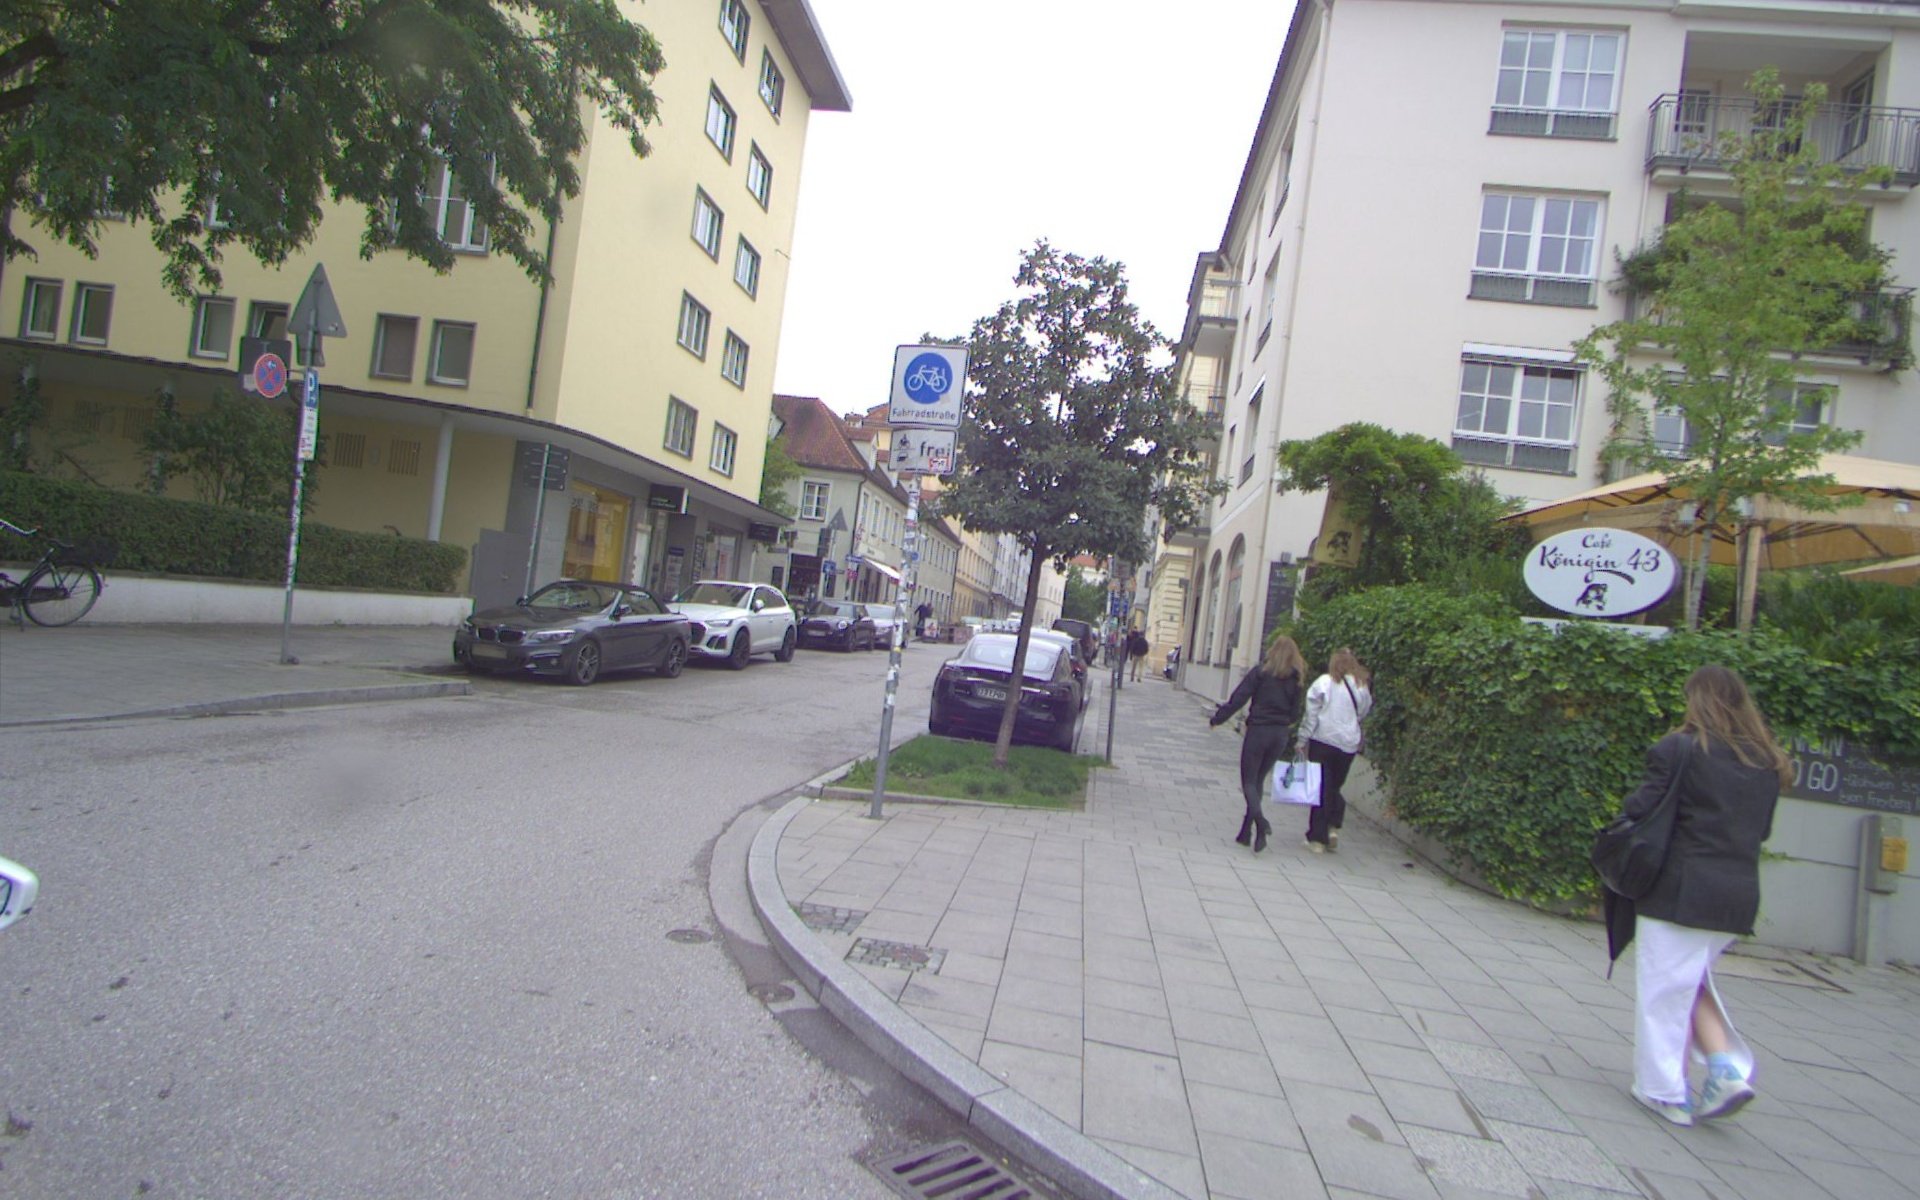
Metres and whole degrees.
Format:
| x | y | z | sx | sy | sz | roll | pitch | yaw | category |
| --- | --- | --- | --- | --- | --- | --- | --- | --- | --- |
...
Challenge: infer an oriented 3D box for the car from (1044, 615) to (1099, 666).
| x | y | z | sx | sy | sz | roll | pitch | yaw | category |
| --- | --- | --- | --- | --- | --- | --- | --- | --- | --- |
| 5.107 | 1.807 | 45.474 | 1.966 | 1.886 | 5.257 | 8 | -1 | 10 | car |

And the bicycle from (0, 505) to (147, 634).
| x | y | z | sx | sy | sz | roll | pitch | yaw | category |
| --- | --- | --- | --- | --- | --- | --- | --- | --- | --- |
| -9.540 | -0.311 | 10.304 | 0.553 | 1.224 | 1.856 | 8 | -1 | 11 | bicycle |

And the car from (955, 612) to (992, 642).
| x | y | z | sx | sy | sz | roll | pitch | yaw | category |
| --- | --- | --- | --- | --- | --- | --- | --- | --- | --- |
| 0.836 | 1.591 | 59.749 | 1.727 | 1.492 | 3.716 | 8 | -1 | 5 | car |

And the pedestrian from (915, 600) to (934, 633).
| x | y | z | sx | sy | sz | roll | pitch | yaw | category |
| --- | --- | --- | --- | --- | --- | --- | --- | --- | --- |
| -2.181 | 1.009 | 61.180 | 0.809 | 1.920 | 0.828 | 7 | -1 | 7 | pedestrian |

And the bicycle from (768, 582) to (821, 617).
| x | y | z | sx | sy | sz | roll | pitch | yaw | category |
| --- | --- | --- | --- | --- | --- | --- | --- | --- | --- |
| -6.200 | -0.024 | 37.727 | 1.789 | 1.047 | 0.392 | 9 | 2 | 11 | bicycle |

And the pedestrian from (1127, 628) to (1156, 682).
| x | y | z | sx | sy | sz | roll | pitch | yaw | category |
| --- | --- | --- | --- | --- | --- | --- | --- | --- | --- |
| 6.115 | 1.858 | 33.992 | 0.707 | 1.737 | 1.005 | 7 | -1 | 7 | pedestrian |

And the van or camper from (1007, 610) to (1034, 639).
| x | y | z | sx | sy | sz | roll | pitch | yaw | category |
| --- | --- | --- | --- | --- | --- | --- | --- | --- | --- |
| 5.477 | 2.235 | 90.619 | 1.727 | 2.308 | 5.277 | 8 | -1 | 7 | van or camper |

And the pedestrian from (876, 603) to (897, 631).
| x | y | z | sx | sy | sz | roll | pitch | yaw | category |
| --- | --- | --- | --- | --- | --- | --- | --- | --- | --- |
| -3.739 | 0.886 | 51.248 | 0.790 | 1.305 | 0.694 | 7 | -1 | 9 | pedestrian |

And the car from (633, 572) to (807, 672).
| x | y | z | sx | sy | sz | roll | pitch | yaw | category |
| --- | --- | --- | --- | --- | --- | --- | --- | --- | --- |
| -4.625 | 0.412 | 20.134 | 1.774 | 1.604 | 4.338 | 6 | 0 | 8 | car |

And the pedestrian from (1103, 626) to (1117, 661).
| x | y | z | sx | sy | sz | roll | pitch | yaw | category |
| --- | --- | --- | --- | --- | --- | --- | --- | --- | --- |
| 7.395 | 2.163 | 49.713 | 0.464 | 1.644 | 1.070 | 7 | -1 | 8 | pedestrian |

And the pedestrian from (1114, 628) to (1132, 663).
| x | y | z | sx | sy | sz | roll | pitch | yaw | category |
| --- | --- | --- | --- | --- | --- | --- | --- | --- | --- |
| 8.051 | 2.244 | 49.638 | 0.648 | 1.639 | 0.981 | 7 | -1 | 7 | pedestrian |

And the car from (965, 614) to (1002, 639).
| x | y | z | sx | sy | sz | roll | pitch | yaw | category |
| --- | --- | --- | --- | --- | --- | --- | --- | --- | --- |
| 1.576 | 1.703 | 64.799 | 1.770 | 1.355 | 4.687 | 8 | 0 | 7 | car |

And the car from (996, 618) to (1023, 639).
| x | y | z | sx | sy | sz | roll | pitch | yaw | category |
| --- | --- | --- | --- | --- | --- | --- | --- | --- | --- |
| 4.012 | 2.280 | 80.491 | 1.727 | 1.425 | 4.106 | 8 | -1 | 7 | car |

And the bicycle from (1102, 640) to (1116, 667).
| x | y | z | sx | sy | sz | roll | pitch | yaw | category |
| --- | --- | --- | --- | --- | --- | --- | --- | --- | --- |
| 6.455 | 2.304 | 43.549 | 0.458 | 1.066 | 1.728 | 5 | 1 | 9 | bicycle |

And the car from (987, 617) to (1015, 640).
| x | y | z | sx | sy | sz | roll | pitch | yaw | category |
| --- | --- | --- | --- | --- | --- | --- | --- | --- | --- |
| 3.129 | 2.111 | 75.614 | 1.787 | 1.459 | 4.133 | 6 | -1 | 5 | car |

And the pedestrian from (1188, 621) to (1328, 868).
| x | y | z | sx | sy | sz | roll | pitch | yaw | category |
| --- | --- | --- | --- | --- | --- | --- | --- | --- | --- |
| 2.232 | 1.052 | 7.647 | 0.693 | 1.681 | 0.881 | 7 | -1 | 7 | pedestrian |

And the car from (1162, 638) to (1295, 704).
| x | y | z | sx | sy | sz | roll | pitch | yaw | category |
| --- | --- | --- | --- | --- | --- | --- | --- | --- | --- |
| 9.131 | 2.410 | 34.509 | 4.023 | 1.626 | 1.754 | 7 | 2 | 7 | car |

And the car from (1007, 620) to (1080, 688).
| x | y | z | sx | sy | sz | roll | pitch | yaw | category |
| --- | --- | --- | --- | --- | --- | --- | --- | --- | --- |
| 2.341 | 1.415 | 27.630 | 1.649 | 1.442 | 4.205 | 10 | 0 | 6 | car |

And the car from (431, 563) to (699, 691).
| x | y | z | sx | sy | sz | roll | pitch | yaw | category |
| --- | --- | --- | --- | --- | --- | --- | --- | --- | --- |
| -5.495 | 0.381 | 14.635 | 1.718 | 1.428 | 4.100 | 6 | 0 | 8 | car |

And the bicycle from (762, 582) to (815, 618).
| x | y | z | sx | sy | sz | roll | pitch | yaw | category |
| --- | --- | --- | --- | --- | --- | --- | --- | --- | --- |
| -6.347 | -0.017 | 37.260 | 1.789 | 1.047 | 0.392 | 9 | 2 | 11 | bicycle |

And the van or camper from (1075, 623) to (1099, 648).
| x | y | z | sx | sy | sz | roll | pitch | yaw | category |
| --- | --- | --- | --- | --- | --- | --- | --- | --- | --- |
| 11.451 | 3.182 | 90.294 | 1.804 | 1.894 | 5.083 | 8 | -1 | 9 | van or camper |

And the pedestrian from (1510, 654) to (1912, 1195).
| x | y | z | sx | sy | sz | roll | pitch | yaw | category |
| --- | --- | --- | --- | --- | --- | --- | --- | --- | --- |
| 2.664 | 1.060 | 3.694 | 0.693 | 1.641 | 0.881 | 7 | -1 | 7 | pedestrian |

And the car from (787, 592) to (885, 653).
| x | y | z | sx | sy | sz | roll | pitch | yaw | category |
| --- | --- | --- | --- | --- | --- | --- | --- | --- | --- |
| -3.536 | 0.681 | 29.398 | 1.652 | 1.489 | 4.100 | 6 | -1 | 9 | car |

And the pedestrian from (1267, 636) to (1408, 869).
| x | y | z | sx | sy | sz | roll | pitch | yaw | category |
| --- | --- | --- | --- | --- | --- | --- | --- | --- | --- |
| 3.004 | 1.178 | 8.086 | 0.693 | 1.681 | 0.881 | 7 | -1 | 7 | pedestrian |

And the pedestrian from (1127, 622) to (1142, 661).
| x | y | z | sx | sy | sz | roll | pitch | yaw | category |
| --- | --- | --- | --- | --- | --- | --- | --- | --- | --- |
| 9.317 | 2.212 | 53.661 | 0.658 | 2.004 | 0.709 | 4 | -1 | 9 | pedestrian |

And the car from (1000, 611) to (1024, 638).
| x | y | z | sx | sy | sz | roll | pitch | yaw | category |
| --- | --- | --- | --- | --- | --- | --- | --- | --- | --- |
| 4.453 | 2.067 | 85.439 | 1.727 | 2.018 | 4.628 | 8 | -1 | 4 | car |

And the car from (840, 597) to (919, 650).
| x | y | z | sx | sy | sz | roll | pitch | yaw | category |
| --- | --- | --- | --- | --- | --- | --- | --- | --- | --- |
| -2.630 | 0.805 | 33.966 | 1.652 | 1.489 | 4.953 | 6 | -1 | 6 | car |

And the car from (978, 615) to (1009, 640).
| x | y | z | sx | sy | sz | roll | pitch | yaw | category |
| --- | --- | --- | --- | --- | --- | --- | --- | --- | --- |
| 2.395 | 1.944 | 70.549 | 1.727 | 1.514 | 4.203 | 8 | -1 | 6 | car |

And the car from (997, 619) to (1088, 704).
| x | y | z | sx | sy | sz | roll | pitch | yaw | category |
| --- | --- | --- | --- | --- | --- | --- | --- | --- | --- |
| 1.925 | 1.278 | 22.511 | 1.620 | 1.442 | 4.511 | 10 | 0 | 7 | car |

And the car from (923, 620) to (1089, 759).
| x | y | z | sx | sy | sz | roll | pitch | yaw | category |
| --- | --- | --- | --- | --- | --- | --- | --- | --- | --- |
| 0.848 | 1.140 | 14.544 | 1.774 | 1.428 | 4.658 | 8 | 0 | 8 | car |
